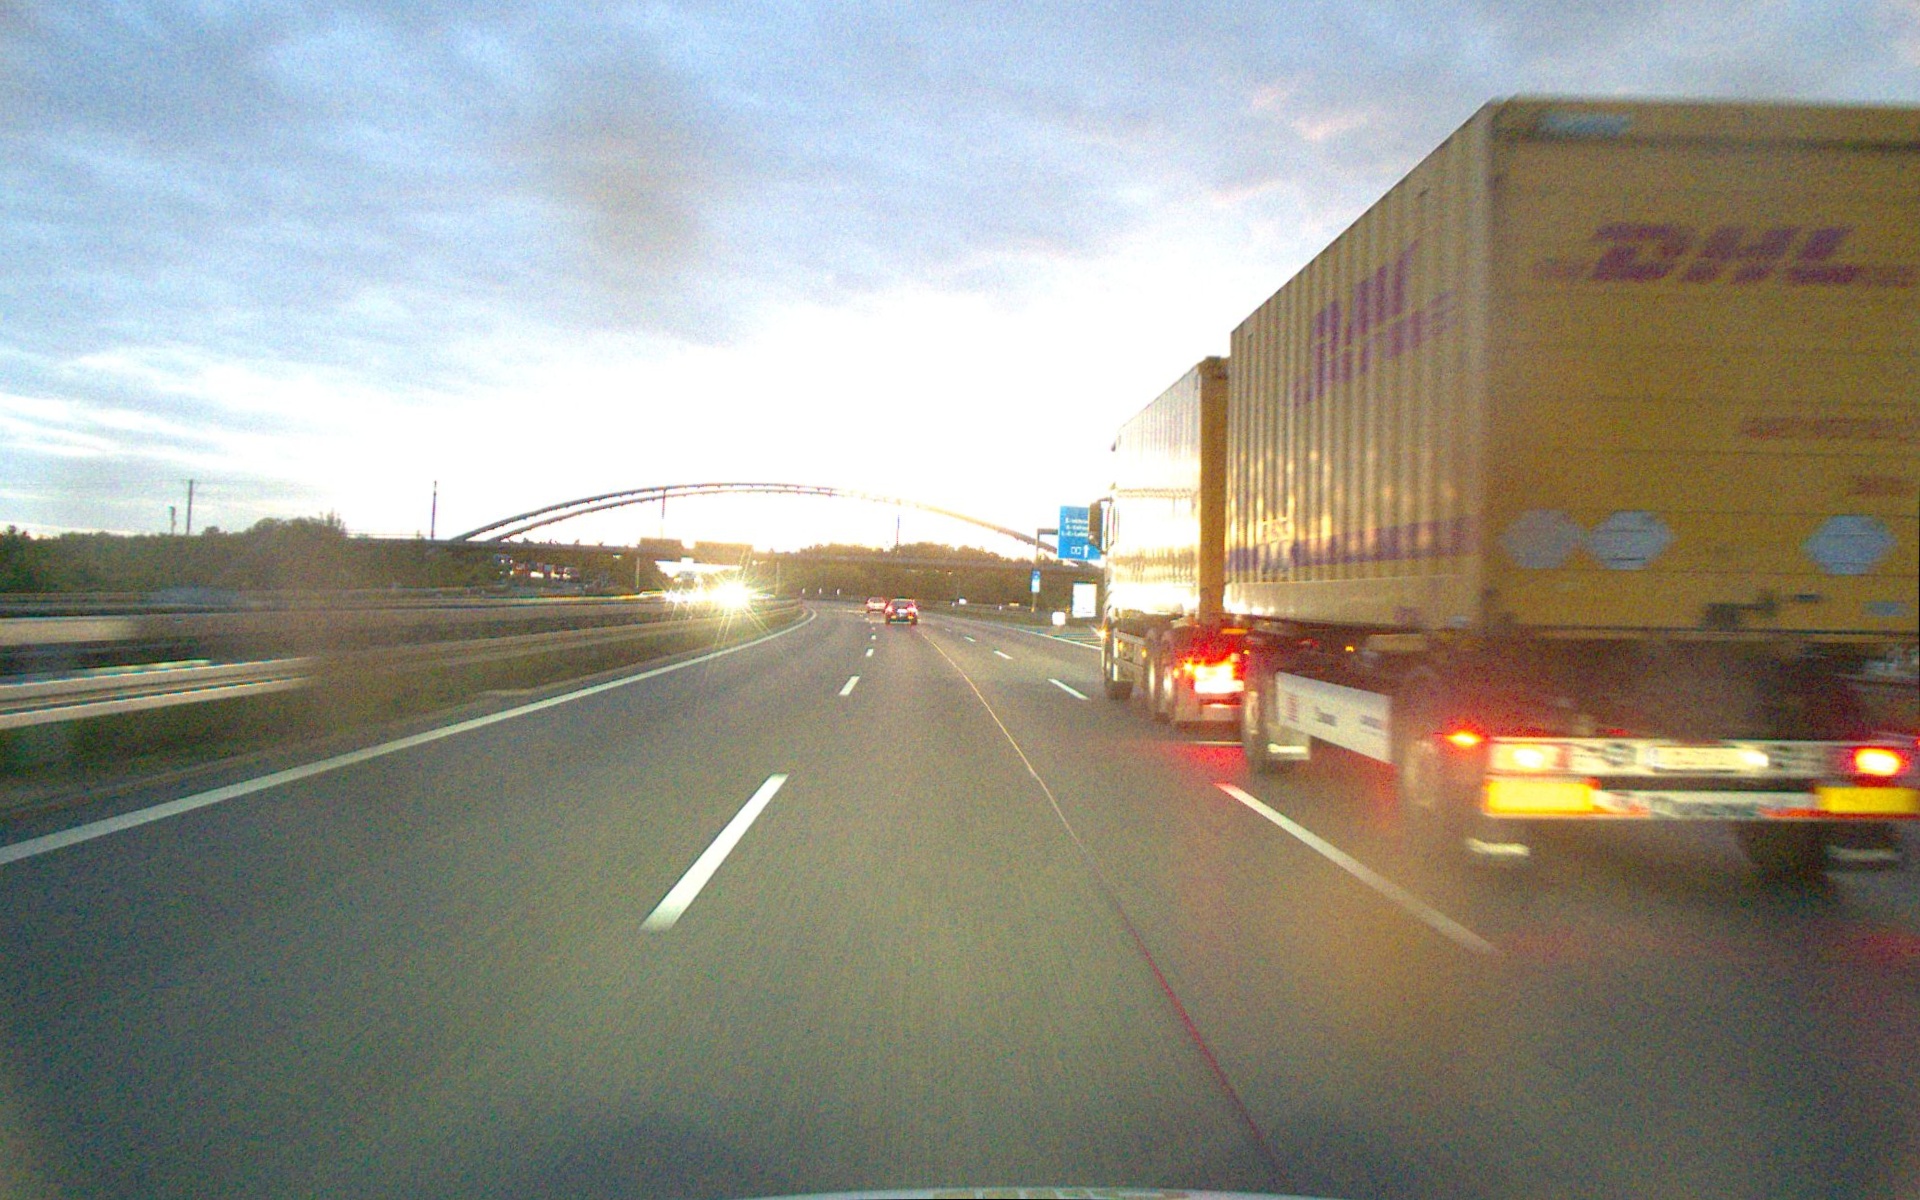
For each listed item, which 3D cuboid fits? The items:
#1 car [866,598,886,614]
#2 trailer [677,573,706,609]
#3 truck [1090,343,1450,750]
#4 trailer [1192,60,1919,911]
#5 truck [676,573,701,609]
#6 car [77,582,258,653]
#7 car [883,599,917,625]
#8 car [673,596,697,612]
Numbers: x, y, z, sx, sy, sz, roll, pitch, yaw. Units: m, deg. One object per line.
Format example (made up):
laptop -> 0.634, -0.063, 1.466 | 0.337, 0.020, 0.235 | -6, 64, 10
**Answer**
car -> -7.838, 0.552, 154.403 | 1.655, 1.426, 3.408 | 0, -2, 0
trailer -> -36.046, -1.198, 222.605 | 2.770, 4.586, 14.610 | 1, 0, -5
truck -> 3.608, -0.548, 22.270 | 2.636, 4.142, 10.517 | 1, 0, -1
trailer -> 3.819, -0.553, 12.544 | 2.666, 4.142, 8.828 | 1, 0, -1
truck -> -35.433, -1.196, 216.057 | 2.770, 4.586, 6.237 | 1, 0, -6
car -> -17.248, 0.353, 36.284 | 1.954, 1.428, 4.793 | 1, 0, -5
car -> -3.520, 0.686, 96.516 | 1.657, 1.426, 3.403 | 1, -2, -7
car -> -30.319, 0.421, 182.283 | 1.953, 1.653, 4.842 | 1, 0, -2
